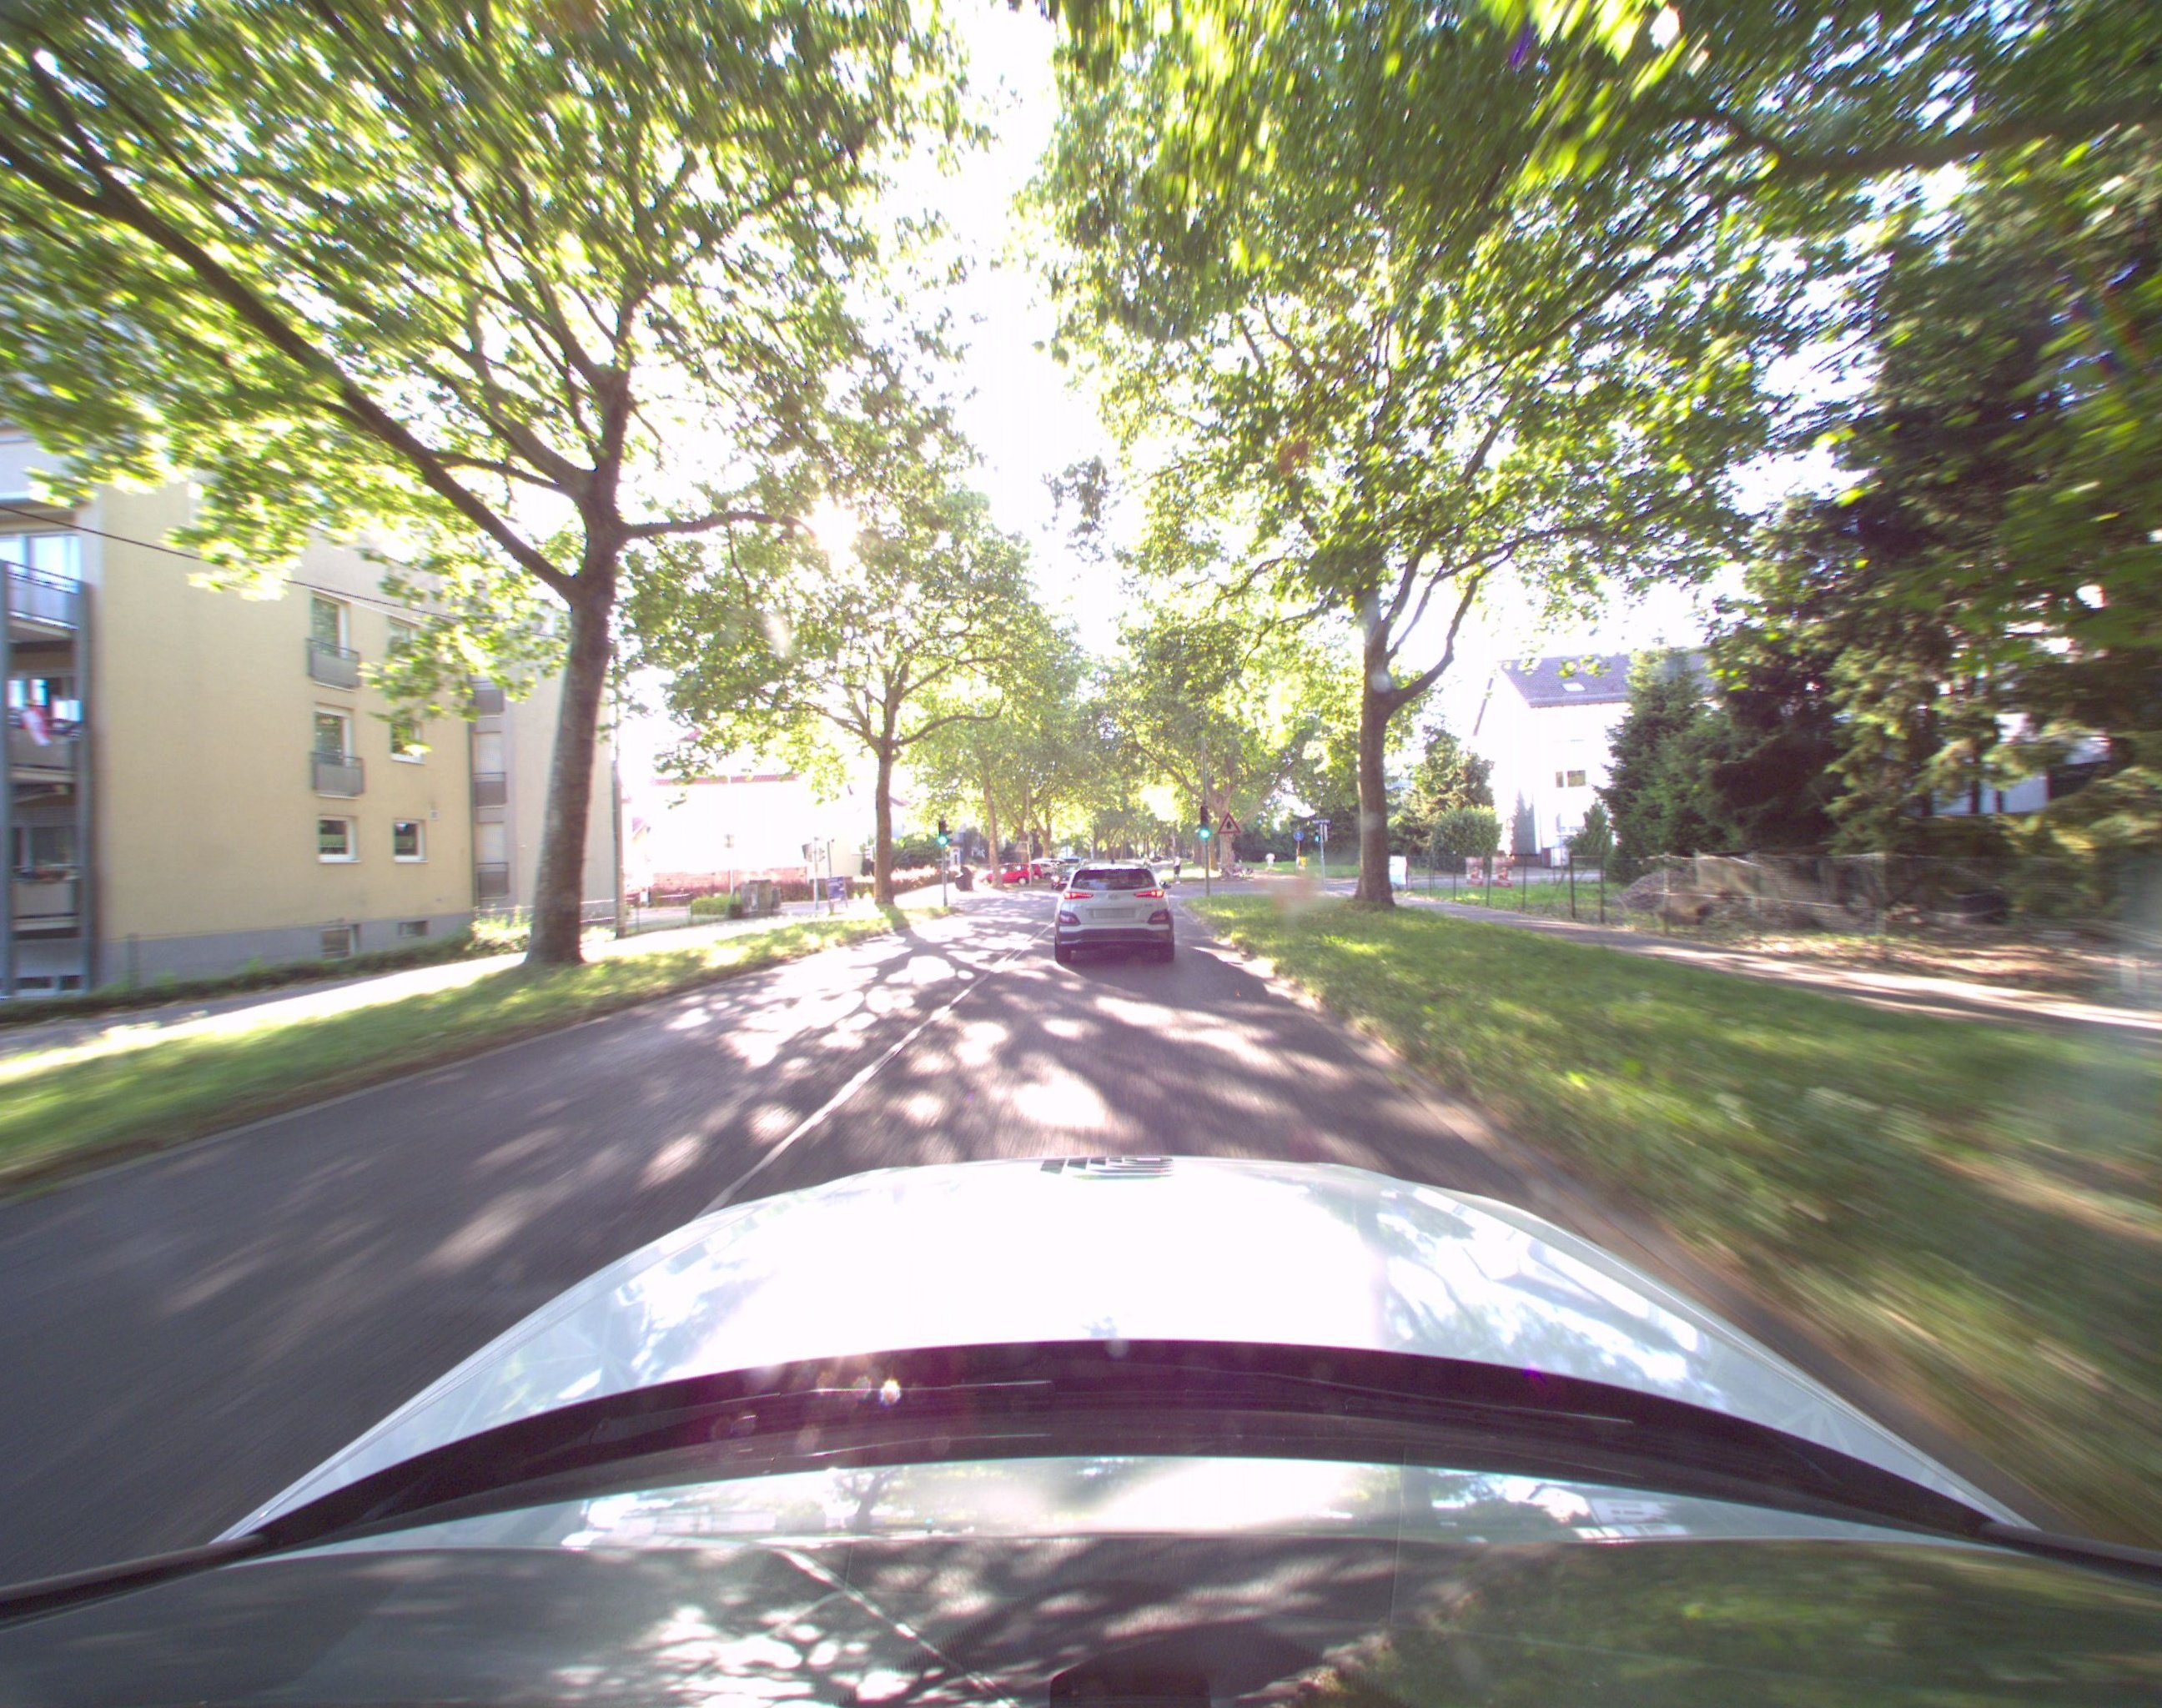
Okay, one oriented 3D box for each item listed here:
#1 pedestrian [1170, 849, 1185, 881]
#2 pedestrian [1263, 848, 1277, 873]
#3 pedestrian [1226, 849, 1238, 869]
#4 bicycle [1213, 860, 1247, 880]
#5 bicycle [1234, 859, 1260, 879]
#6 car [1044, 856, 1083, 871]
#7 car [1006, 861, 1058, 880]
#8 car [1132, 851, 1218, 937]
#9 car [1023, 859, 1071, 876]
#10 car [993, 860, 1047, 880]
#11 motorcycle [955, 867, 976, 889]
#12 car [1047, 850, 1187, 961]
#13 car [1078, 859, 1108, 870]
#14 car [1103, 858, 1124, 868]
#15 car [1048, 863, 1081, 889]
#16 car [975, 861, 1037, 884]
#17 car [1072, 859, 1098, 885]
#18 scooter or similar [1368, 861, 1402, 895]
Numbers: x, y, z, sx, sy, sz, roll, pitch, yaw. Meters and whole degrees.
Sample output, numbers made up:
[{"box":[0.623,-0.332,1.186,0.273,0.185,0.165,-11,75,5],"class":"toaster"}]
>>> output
[{"box":[6.042,0.703,51.116,0.862,2.014,0.816,-1,-1,10],"class":"pedestrian"},{"box":[13.137,0.451,56.630,0.828,1.736,0.887,-1,-1,11],"class":"pedestrian"},{"box":[15.422,0.521,83.277,1.088,2.013,1.108,-3,-1,9],"class":"pedestrian"},{"box":[9.066,0.978,49.510,0.608,1.164,2.124,0,-2,-41],"class":"bicycle"},{"box":[10.234,0.920,50.226,0.605,1.183,2.106,0,-1,-17],"class":"bicycle"},{"box":[-1.820,1.007,86.031,3.970,1.478,2.001,-1,-1,3],"class":"car"},{"box":[-3.965,1.374,66.237,3.970,1.478,2.001,-1,-1,3],"class":"car"},{"box":[2.344,0.985,21.338,1.985,2.014,4.003,-1,-1,3],"class":"car"},{"box":[-2.932,1.186,71.360,3.970,1.478,2.001,-1,-1,3],"class":"car"},{"box":[-4.744,1.285,63.993,3.970,1.478,2.001,-1,-1,3],"class":"car"},{"box":[-7.354,1.527,52.025,0.843,1.379,2.778,-1,-1,2],"class":"motorcycle"},{"box":[0.593,0.771,13.686,1.986,1.574,4.002,-1,-1,2],"class":"car"},{"box":[1.596,1.413,109.727,3.970,1.478,2.001,-1,-1,3],"class":"car"},{"box":[5.882,1.597,147.711,3.665,1.808,1.745,-1,-1,-7],"class":"car"},{"box":[-0.972,1.317,49.875,1.681,1.437,3.685,-1,0,3],"class":"car"},{"box":[-5.176,1.290,56.431,3.970,1.478,2.001,-1,-1,3],"class":"car"},{"box":[0.345,1.320,61.636,1.784,1.882,4.002,-1,-1,2],"class":"car"},{"box":[11.522,0.898,30.891,0.547,1.258,2.315,-1,-1,4],"class":"scooter or similar"}]
